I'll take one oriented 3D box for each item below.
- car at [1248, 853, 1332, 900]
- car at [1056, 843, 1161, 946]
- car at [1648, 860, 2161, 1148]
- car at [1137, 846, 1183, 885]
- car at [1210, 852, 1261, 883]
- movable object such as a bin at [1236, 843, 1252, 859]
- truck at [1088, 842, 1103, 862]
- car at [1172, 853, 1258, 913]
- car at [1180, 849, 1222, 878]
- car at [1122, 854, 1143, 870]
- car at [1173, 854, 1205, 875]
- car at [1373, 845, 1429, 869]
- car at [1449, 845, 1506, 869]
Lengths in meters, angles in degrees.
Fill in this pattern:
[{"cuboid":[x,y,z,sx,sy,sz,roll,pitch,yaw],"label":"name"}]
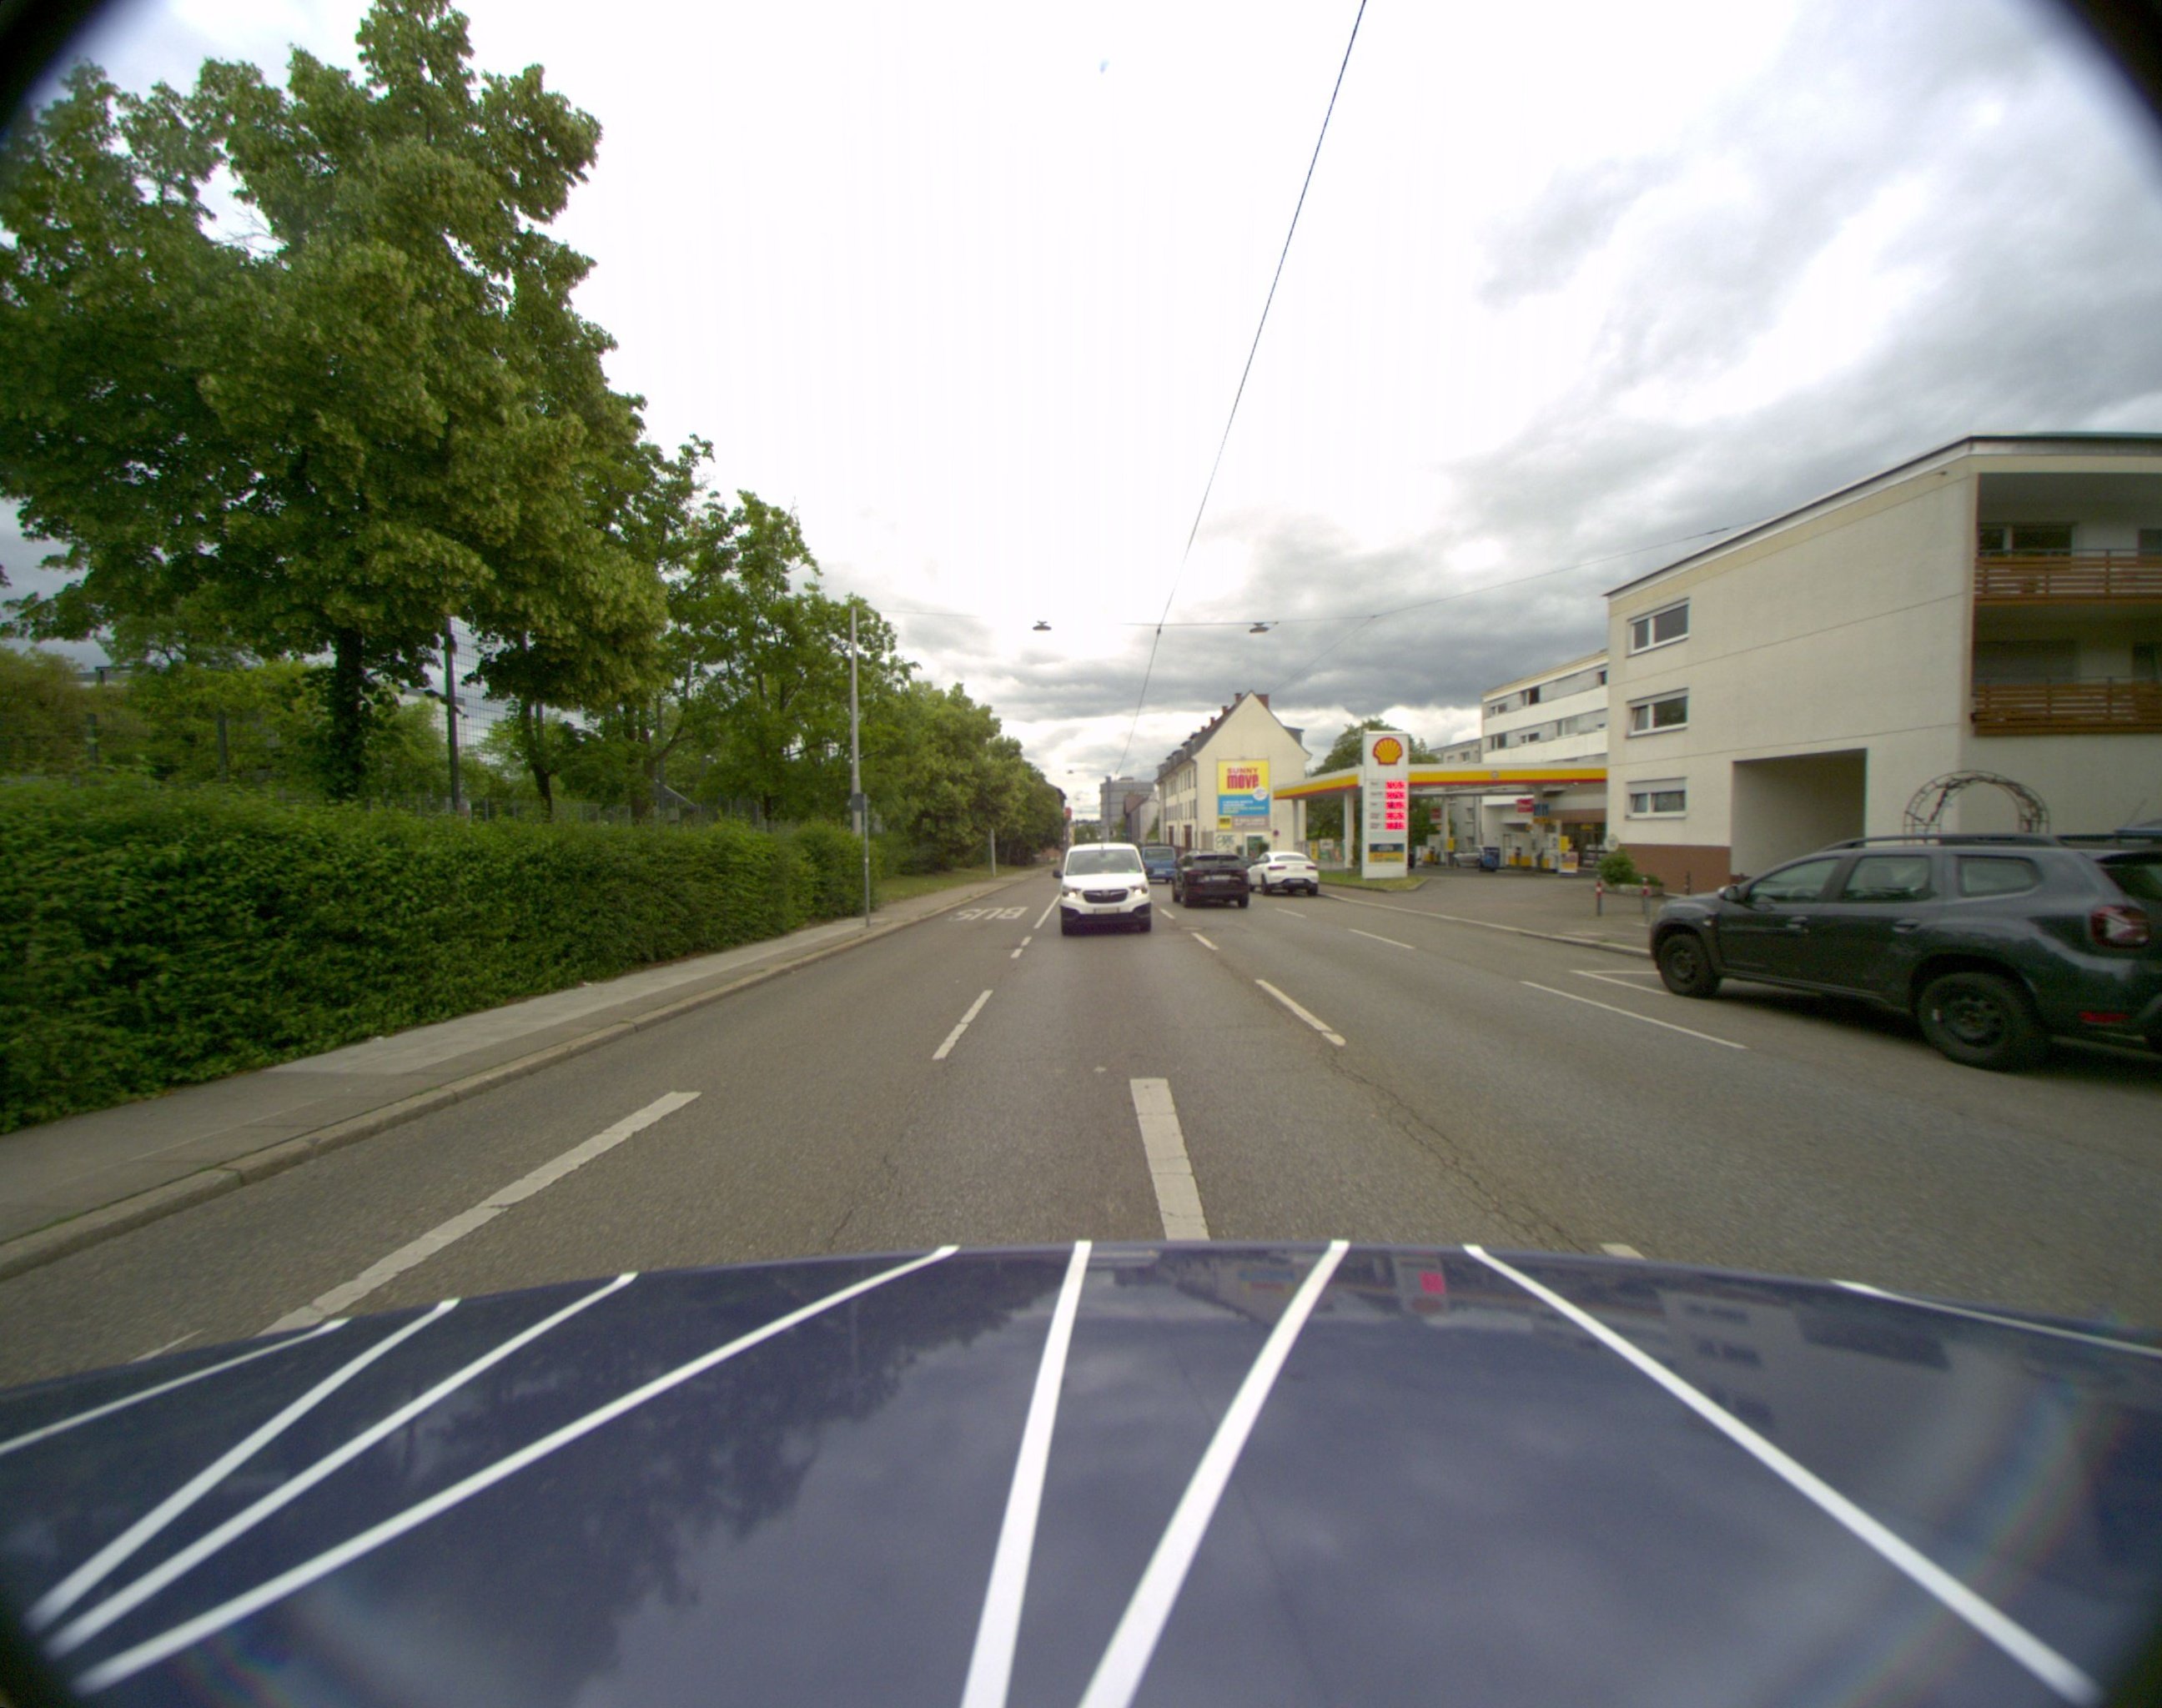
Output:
[{"cuboid":[7.612,0.768,28.179,1.920,1.568,4.700,0,0,1],"label":"car"},{"cuboid":[0.544,0.793,15.982,1.850,1.831,4.285,-2,-1,1],"label":"car"},{"cuboid":[7.161,0.895,6.307,1.787,1.600,4.265,1,0,2],"label":"car"},{"cuboid":[4.045,0.576,39.552,1.935,1.889,4.589,-1,0,1],"label":"car"},{"cuboid":[7.543,0.637,37.460,1.802,1.423,4.744,0,0,3],"label":"car"},{"cuboid":[15.434,-0.284,71.910,1.268,1.529,1.104,0,0,1],"label":"movable object such as a bin"},{"cuboid":[2.578,-0.356,136.241,2.545,3.478,8.521,0,0,1],"label":"truck"},{"cuboid":[3.806,0.768,22.211,1.844,1.581,4.164,0,0,1],"label":"car"},{"cuboid":[7.705,0.578,49.174,1.856,1.824,4.701,0,0,-1],"label":"car"},{"cuboid":[4.992,0.738,74.322,1.782,1.457,4.499,0,0,1],"label":"car"},{"cuboid":[7.736,0.725,54.631,1.795,1.441,4.218,0,0,1],"label":"car"},{"cuboid":[20.723,0.205,49.439,1.802,1.412,4.417,-2,0,1],"label":"car"},{"cuboid":[25.525,0.200,49.024,1.802,1.412,3.636,-2,0,1],"label":"car"}]
